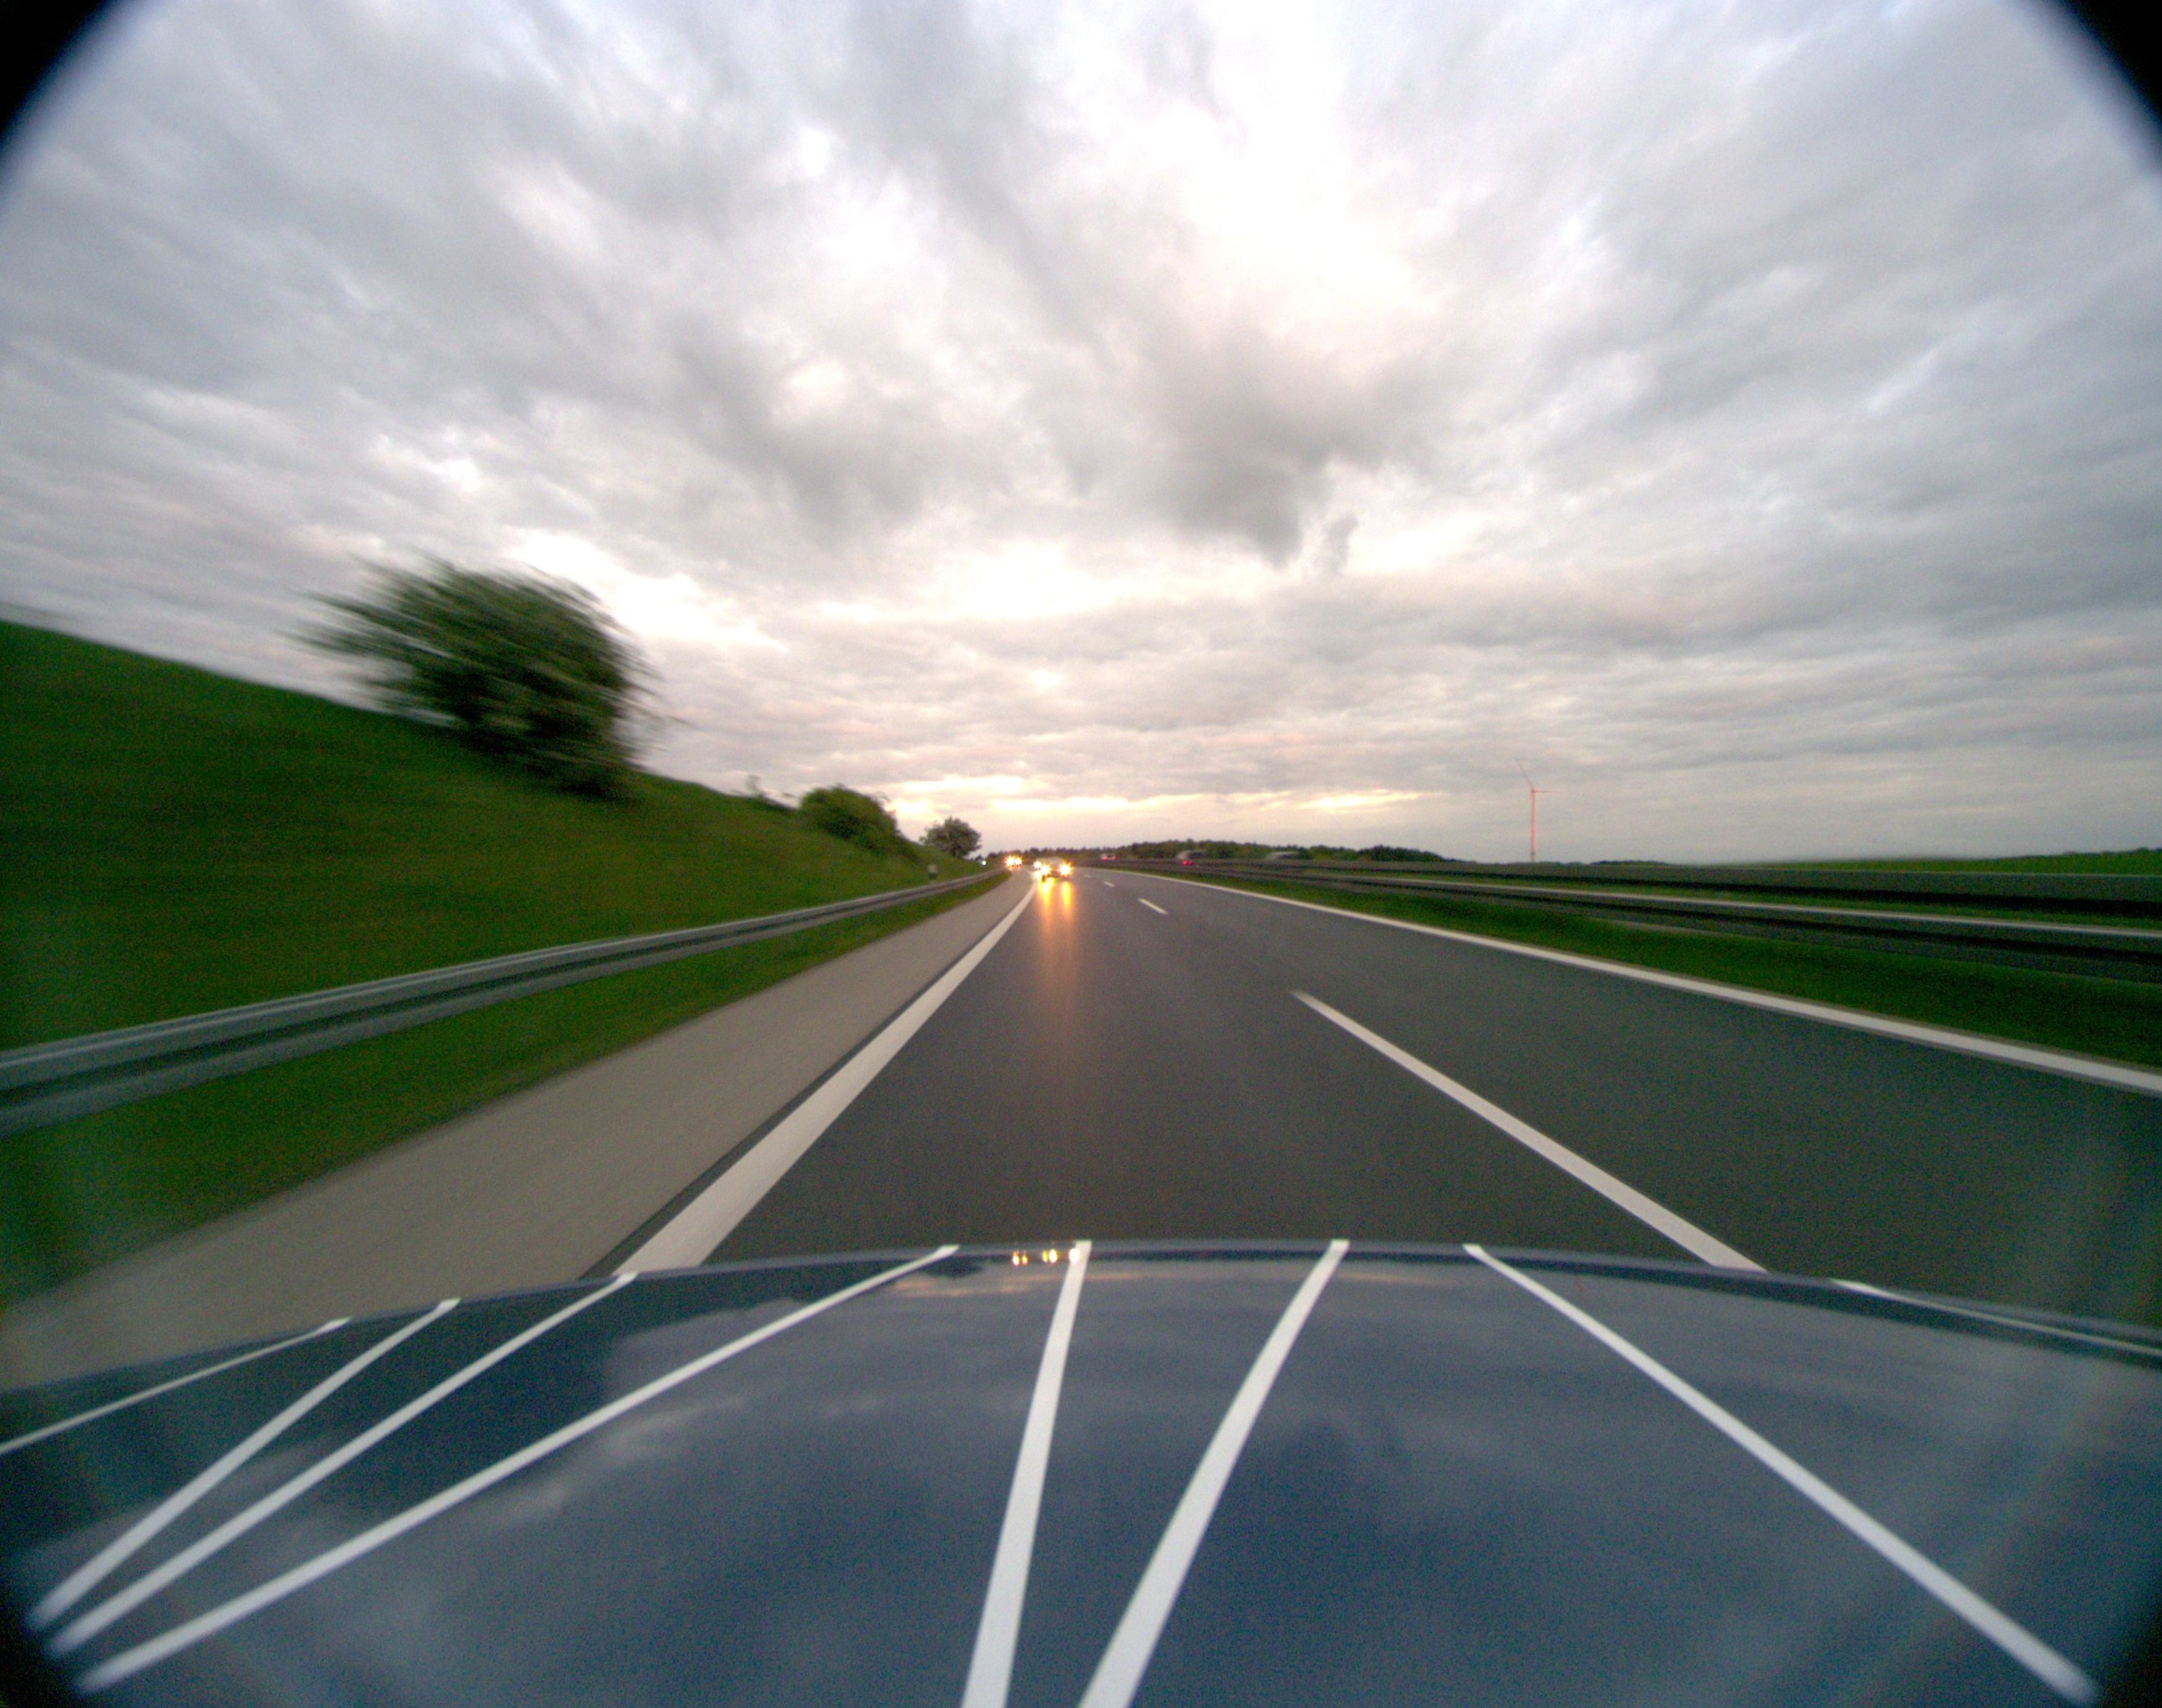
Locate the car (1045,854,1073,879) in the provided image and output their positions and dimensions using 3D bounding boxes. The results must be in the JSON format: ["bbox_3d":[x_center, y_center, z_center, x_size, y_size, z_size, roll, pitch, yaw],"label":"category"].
[{"bbox_3d":[-1.506,0.803,50.695,1.682,1.504,3.999,-1,0,-3],"label":"car"}]

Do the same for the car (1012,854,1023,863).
[{"bbox_3d":[-12.197,0.877,145.734,1.921,1.827,3.997,0,0,-7],"label":"car"}]

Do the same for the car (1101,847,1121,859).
[{"bbox_3d":[5.367,-0.192,136.410,2.289,2.002,5.252,-3,1,-10],"label":"car"}]

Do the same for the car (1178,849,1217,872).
[{"bbox_3d":[10.054,0.537,65.968,2.109,1.861,5.128,-1,0,-6],"label":"car"}]

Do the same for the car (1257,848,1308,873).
[{"bbox_3d":[14.141,0.461,53.584,2.031,1.650,4.668,-1,0,-5],"label":"car"}]
